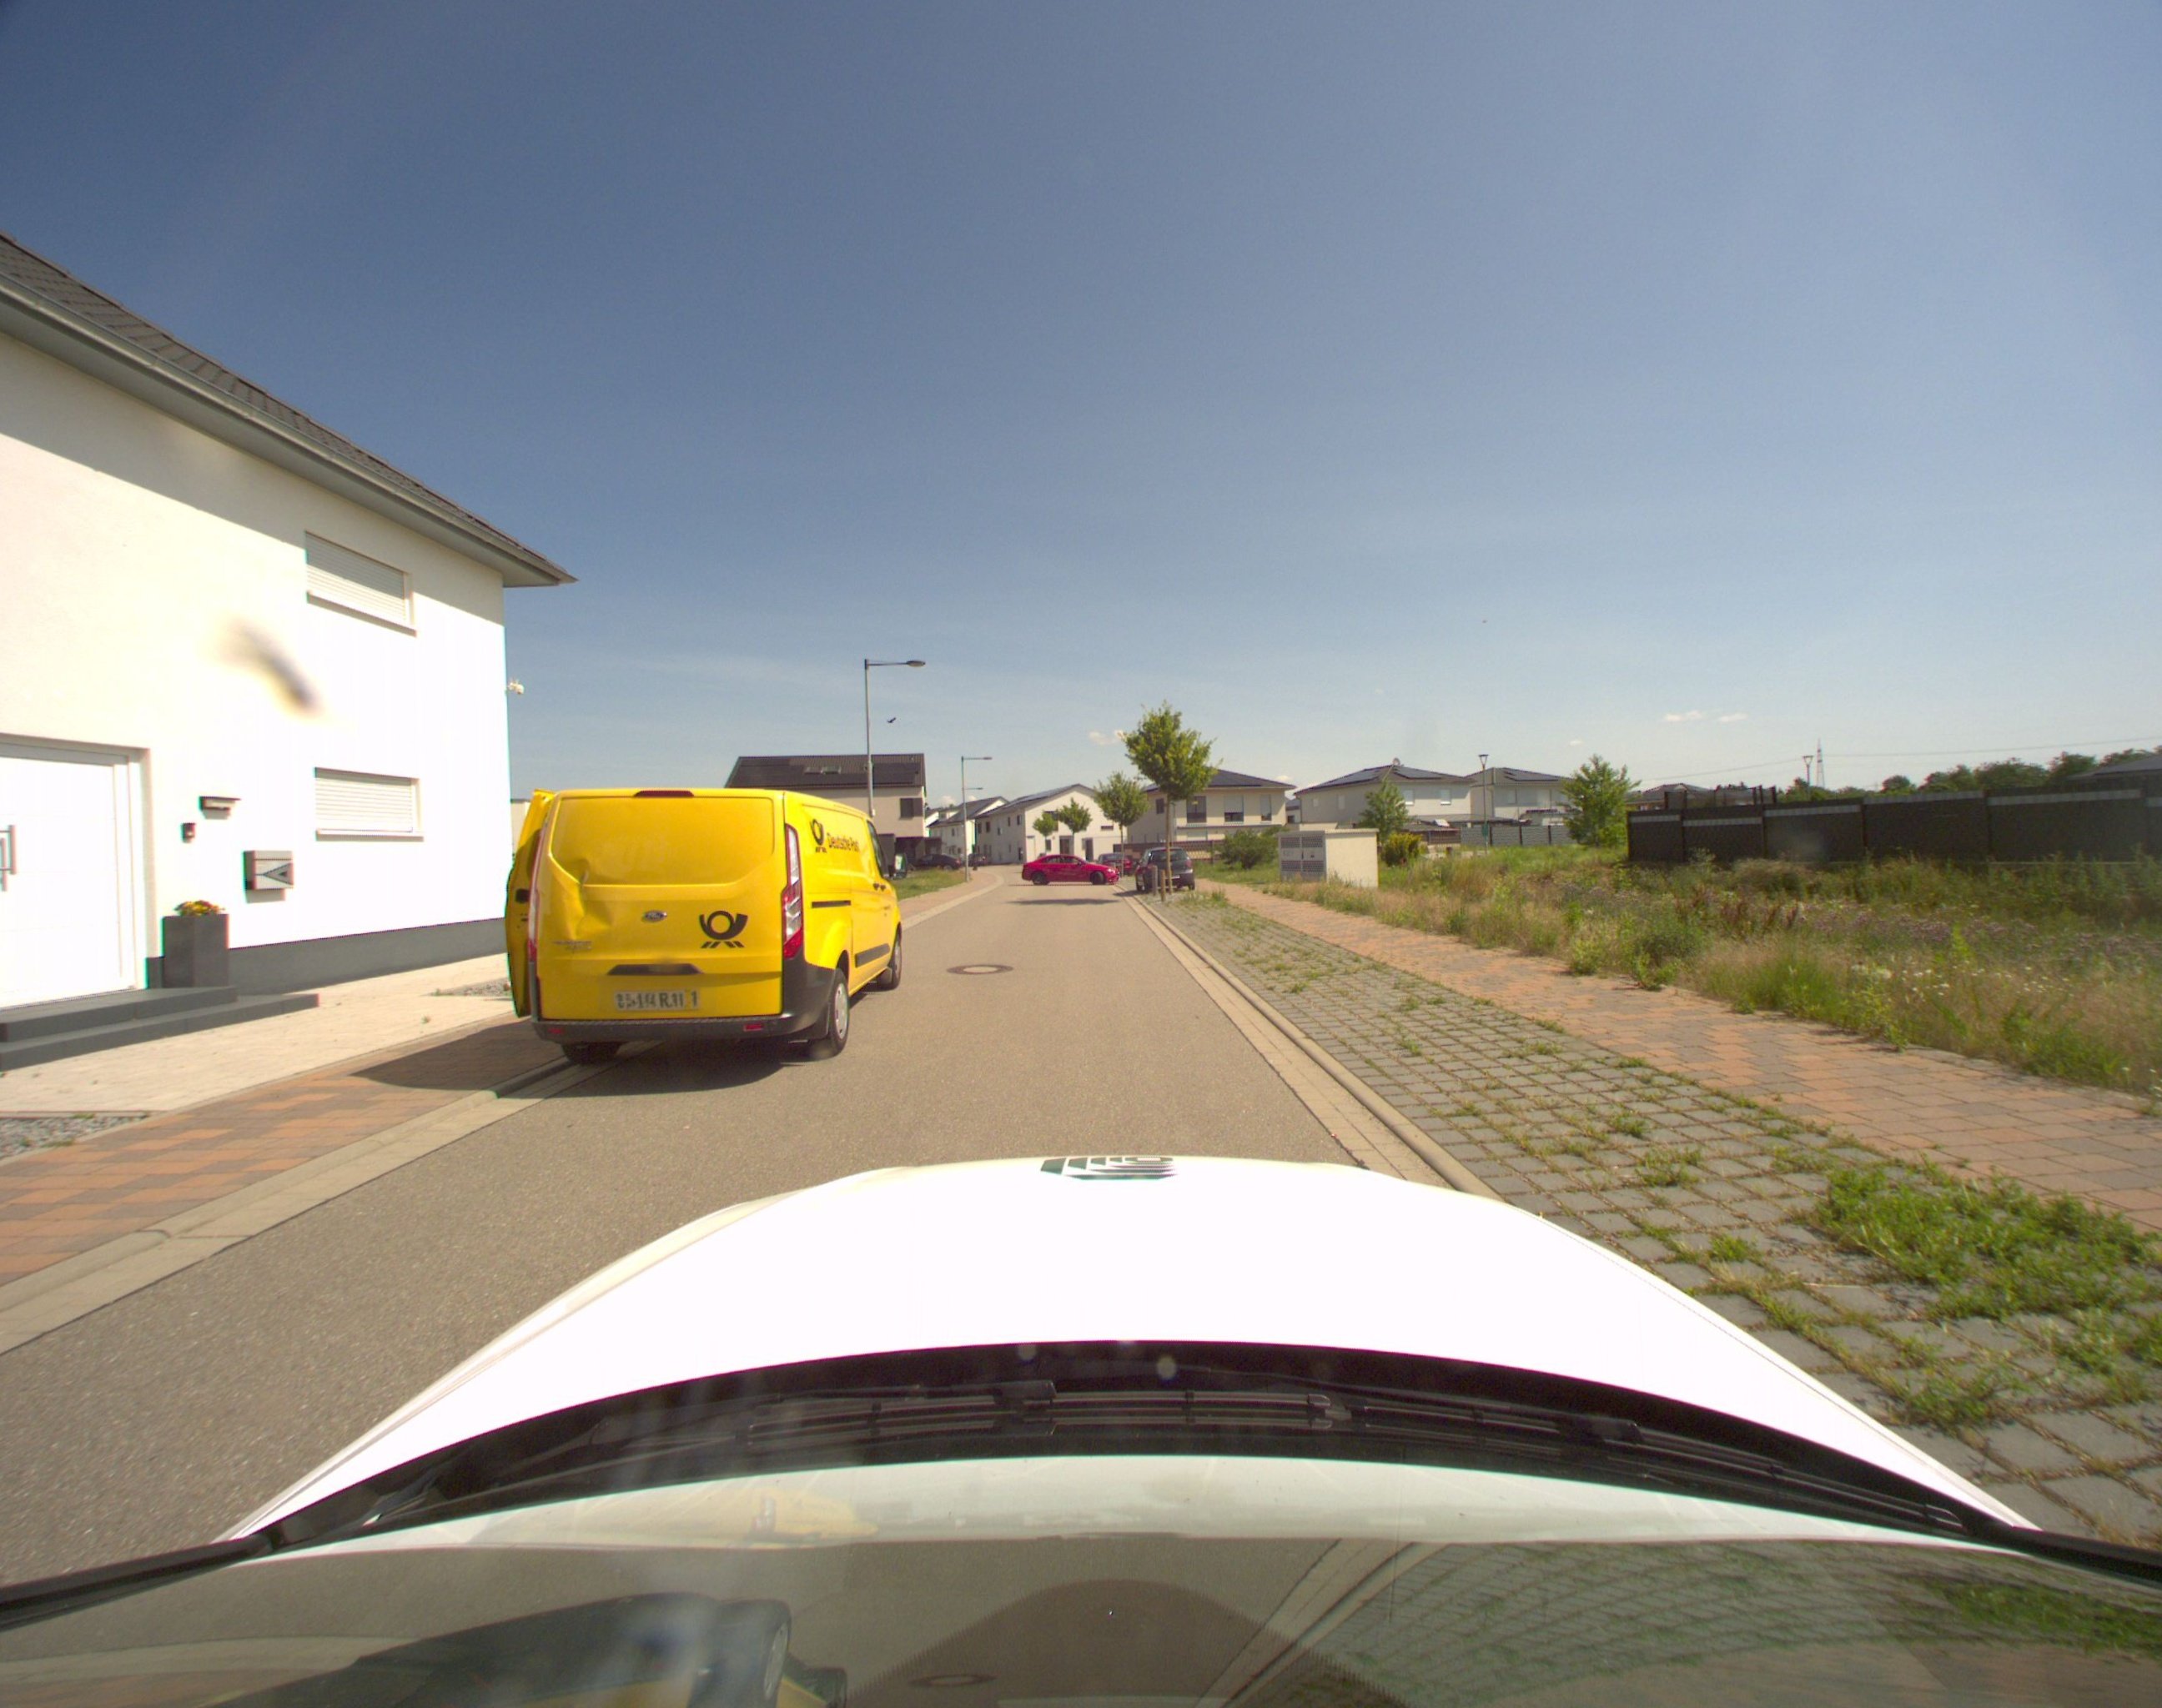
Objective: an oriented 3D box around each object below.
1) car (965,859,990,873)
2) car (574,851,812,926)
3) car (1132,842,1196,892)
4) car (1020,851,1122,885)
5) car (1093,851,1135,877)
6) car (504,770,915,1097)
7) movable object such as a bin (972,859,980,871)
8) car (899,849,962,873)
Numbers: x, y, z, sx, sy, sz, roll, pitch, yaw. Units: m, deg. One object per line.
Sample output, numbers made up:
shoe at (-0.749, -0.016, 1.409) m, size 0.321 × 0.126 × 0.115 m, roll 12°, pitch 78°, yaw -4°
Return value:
car at (-11.235, 1.308, 88.119) m, size 1.733 × 1.422 × 3.972 m, roll -3°, pitch 0°, yaw -20°
car at (-8.308, 0.705, 17.869) m, size 4.399 × 1.452 × 1.741 m, roll -1°, pitch 0°, yaw -14°
car at (2.739, 0.410, 27.461) m, size 1.594 × 1.475 × 3.672 m, roll -4°, pitch 0°, yaw -2°
car at (-0.435, 0.638, 37.786) m, size 4.480 × 1.438 × 1.772 m, roll -1°, pitch 0°, yaw 7°
car at (1.820, 0.547, 46.279) m, size 1.752 × 1.363 × 4.566 m, roll -1°, pitch 0°, yaw -6°
car at (-2.821, 0.483, 7.564) m, size 1.881 × 2.013 × 4.833 m, roll -1°, pitch 0°, yaw -5°
movable object such as a bin at (-8.823, 0.912, 68.363) m, size 0.533 × 0.936 × 0.526 m, roll 0°, pitch 0°, yaw 0°
car at (-10.650, 0.489, 57.872) m, size 4.375 × 1.631 × 1.765 m, roll 0°, pitch 0°, yaw -10°
